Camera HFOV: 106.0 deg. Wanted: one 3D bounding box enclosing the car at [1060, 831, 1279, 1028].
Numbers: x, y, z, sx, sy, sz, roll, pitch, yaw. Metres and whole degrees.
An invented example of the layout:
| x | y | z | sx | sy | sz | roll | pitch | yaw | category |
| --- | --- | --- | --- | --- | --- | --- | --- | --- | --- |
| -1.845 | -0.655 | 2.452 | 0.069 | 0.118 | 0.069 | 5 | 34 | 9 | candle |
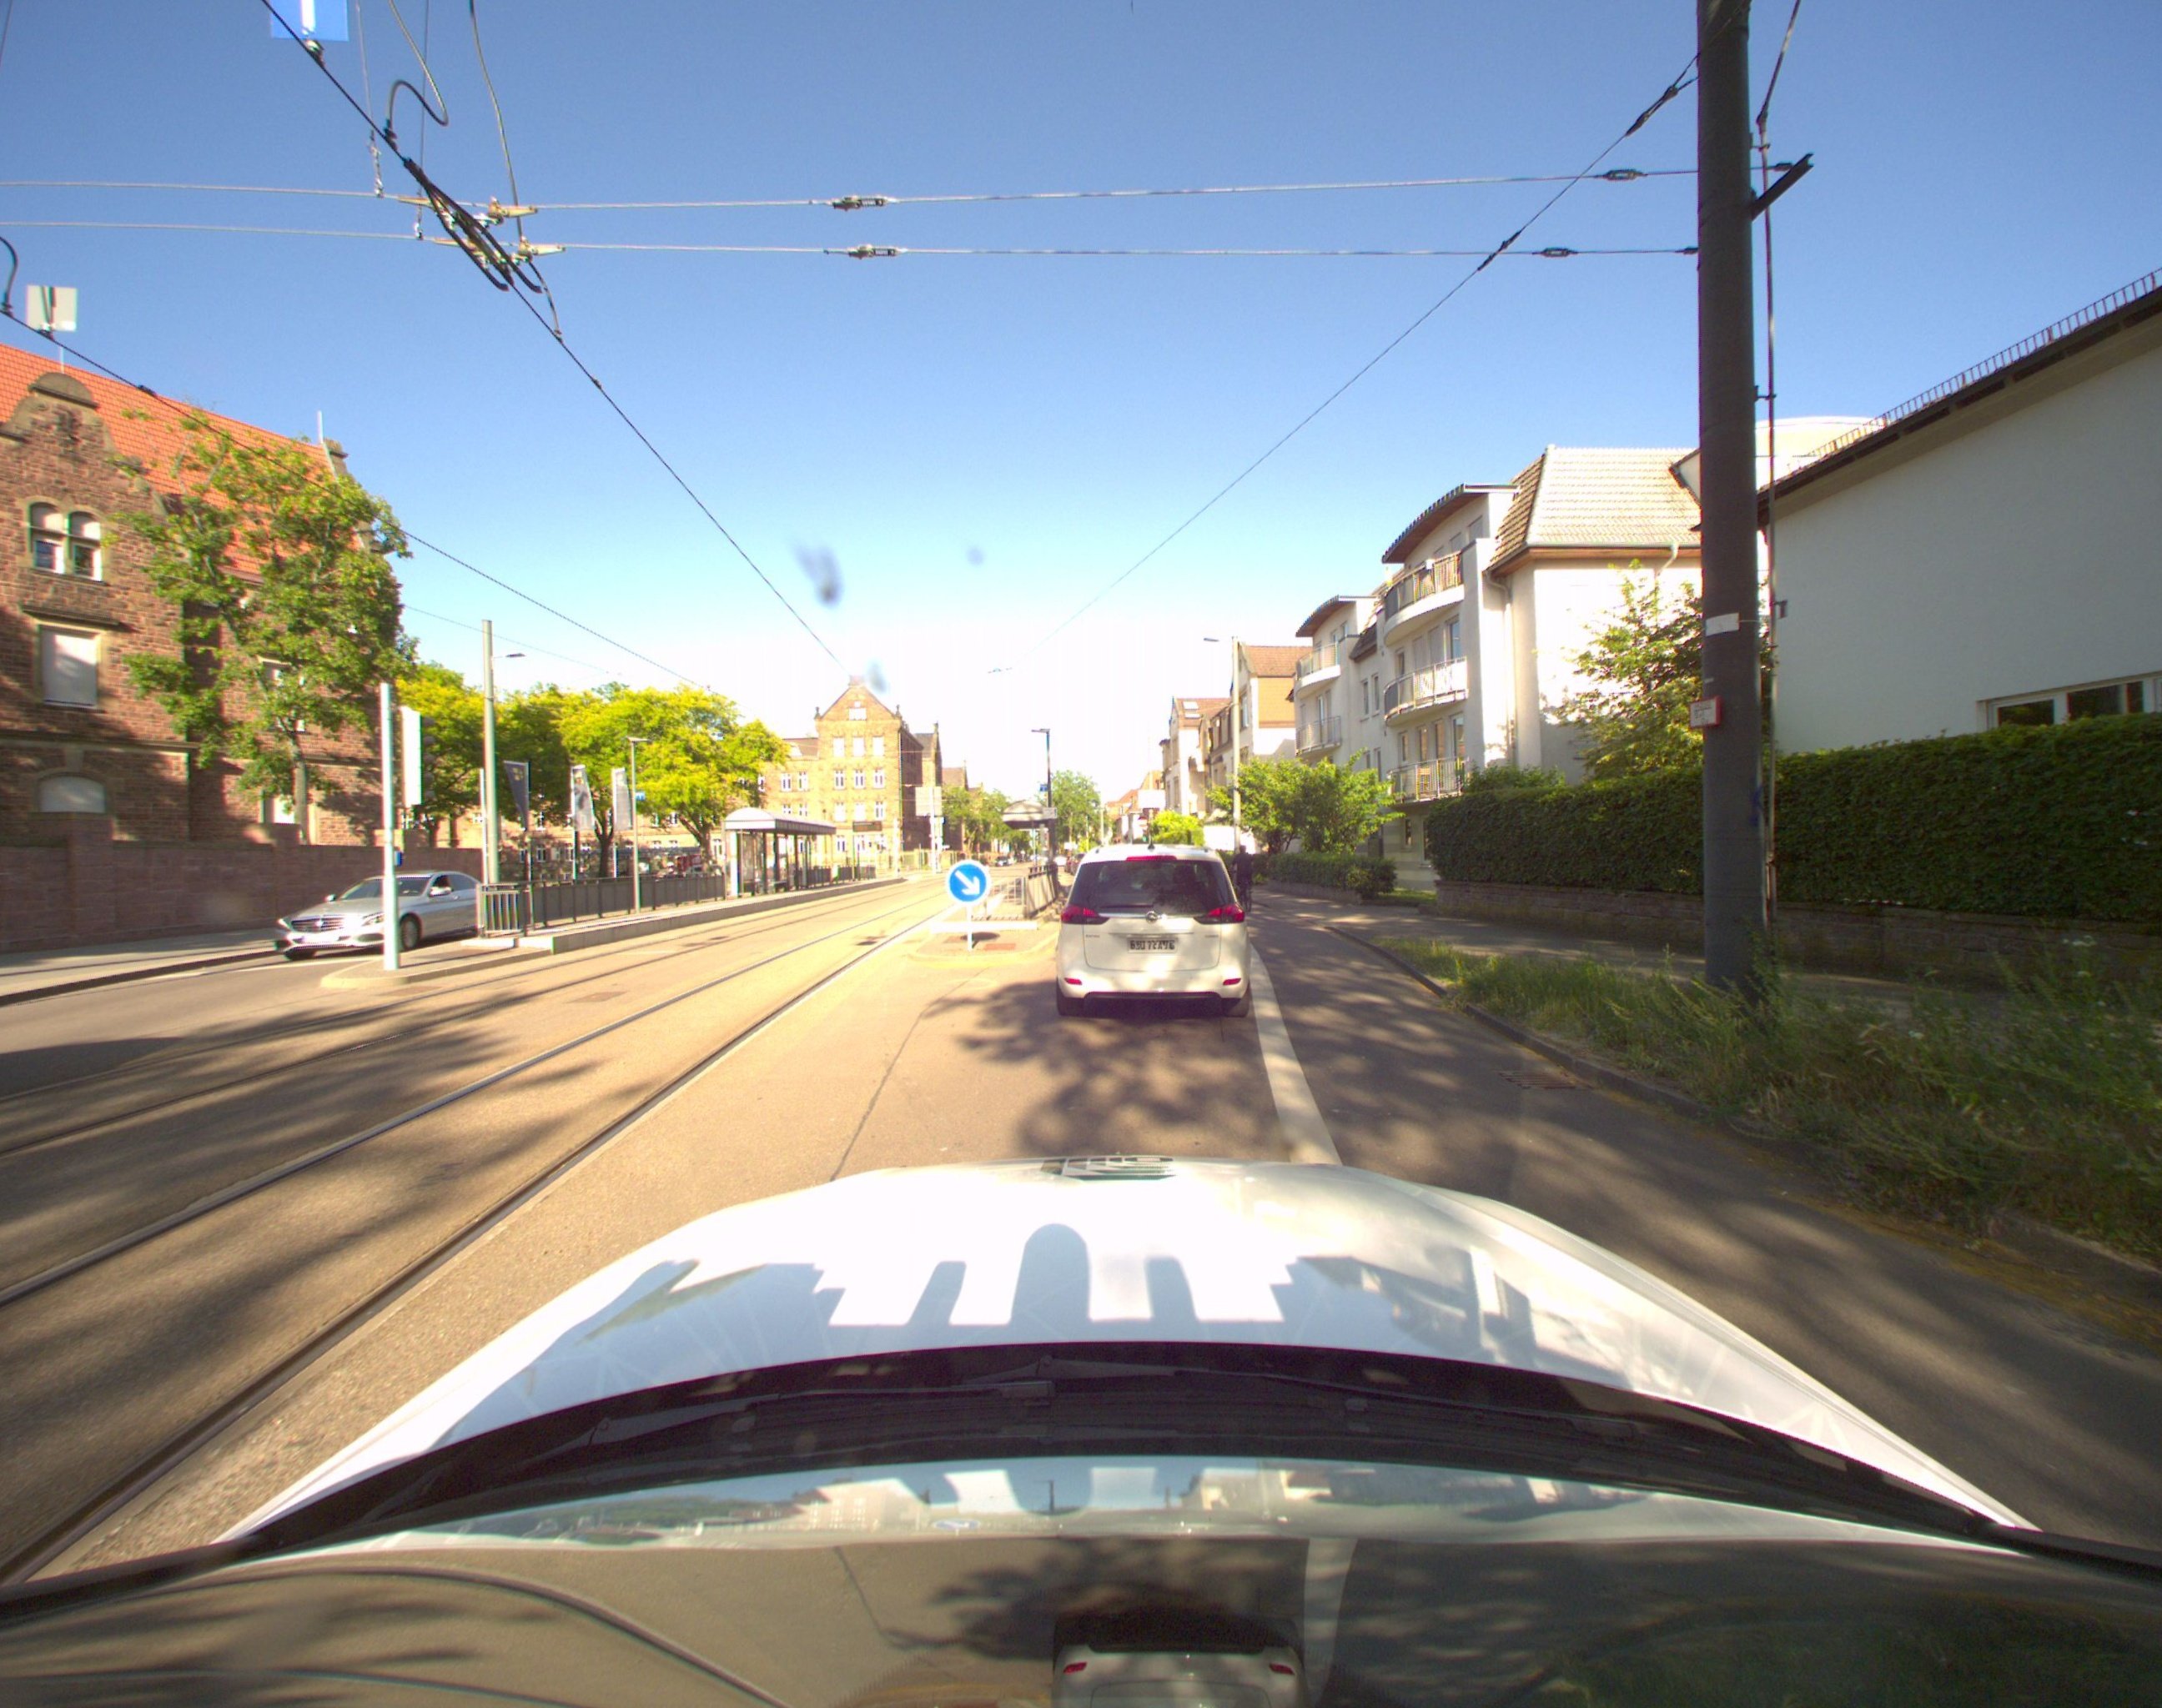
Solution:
| x | y | z | sx | sy | sz | roll | pitch | yaw | category |
| --- | --- | --- | --- | --- | --- | --- | --- | --- | --- |
| 0.712 | 0.652 | 8.907 | 1.830 | 1.642 | 3.915 | -1 | 0 | -2 | car |

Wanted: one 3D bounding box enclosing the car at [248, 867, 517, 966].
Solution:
| x | y | z | sx | sy | sz | roll | pitch | yaw | category |
| --- | --- | --- | --- | --- | --- | --- | --- | --- | --- |
| -13.287 | 1.077 | 15.973 | 1.884 | 1.415 | 4.608 | -2 | 1 | -11 | car |

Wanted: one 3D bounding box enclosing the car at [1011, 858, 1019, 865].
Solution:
| x | y | z | sx | sy | sz | roll | pitch | yaw | category |
| --- | --- | --- | --- | --- | --- | --- | --- | --- | --- |
| -16.627 | 1.852 | 206.716 | 1.902 | 1.677 | 3.995 | -1 | 0 | -4 | car |

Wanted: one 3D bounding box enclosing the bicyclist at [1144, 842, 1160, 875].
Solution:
| x | y | z | sx | sy | sz | roll | pitch | yaw | category |
| --- | --- | --- | --- | --- | --- | --- | --- | --- | --- |
| 3.637 | 0.242 | 41.742 | 0.683 | 1.634 | 1.015 | -1 | -1 | 0 | bicyclist |

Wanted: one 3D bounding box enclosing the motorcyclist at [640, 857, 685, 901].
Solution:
| x | y | z | sx | sy | sz | roll | pitch | yaw | category |
| --- | --- | --- | --- | --- | --- | --- | --- | --- | --- |
| -15.279 | 0.901 | 29.781 | 1.123 | 1.525 | 1.053 | -1 | -1 | -6 | motorcyclist |

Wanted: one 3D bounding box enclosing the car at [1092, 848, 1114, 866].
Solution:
| x | y | z | sx | sy | sz | roll | pitch | yaw | category |
| --- | --- | --- | --- | --- | --- | --- | --- | --- | --- |
| 1.991 | 0.266 | 74.689 | 1.770 | 1.632 | 3.879 | -1 | 0 | -1 | car |

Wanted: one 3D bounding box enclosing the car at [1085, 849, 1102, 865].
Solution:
| x | y | z | sx | sy | sz | roll | pitch | yaw | category |
| --- | --- | --- | --- | --- | --- | --- | --- | --- | --- |
| 1.301 | 0.359 | 85.784 | 1.770 | 1.632 | 3.879 | -1 | 0 | -1 | car |

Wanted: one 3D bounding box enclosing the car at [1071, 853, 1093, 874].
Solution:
| x | y | z | sx | sy | sz | roll | pitch | yaw | category |
| --- | --- | --- | --- | --- | --- | --- | --- | --- | --- |
| 0.089 | 0.739 | 66.153 | 1.770 | 1.632 | 3.880 | -1 | 0 | 0 | car |

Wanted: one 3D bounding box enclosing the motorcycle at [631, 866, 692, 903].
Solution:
| x | y | z | sx | sy | sz | roll | pitch | yaw | category |
| --- | --- | --- | --- | --- | --- | --- | --- | --- | --- |
| -15.278 | 1.077 | 29.758 | 1.128 | 1.243 | 2.568 | -1 | 0 | -6 | motorcycle |

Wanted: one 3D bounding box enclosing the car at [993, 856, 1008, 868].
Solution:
| x | y | z | sx | sy | sz | roll | pitch | yaw | category |
| --- | --- | --- | --- | --- | --- | --- | --- | --- | --- |
| -12.225 | 1.203 | 123.793 | 1.902 | 1.677 | 4.354 | -1 | 0 | -2 | car |

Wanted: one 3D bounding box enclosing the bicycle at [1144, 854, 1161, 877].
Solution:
| x | y | z | sx | sy | sz | roll | pitch | yaw | category |
| --- | --- | --- | --- | --- | --- | --- | --- | --- | --- |
| 3.647 | 0.589 | 41.676 | 0.683 | 1.157 | 1.619 | -1 | -1 | 0 | bicycle |

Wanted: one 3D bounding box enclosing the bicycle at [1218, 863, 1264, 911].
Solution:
| x | y | z | sx | sy | sz | roll | pitch | yaw | category |
| --- | --- | --- | --- | --- | --- | --- | --- | --- | --- |
| 4.136 | 0.823 | 21.200 | 0.826 | 1.154 | 2.095 | -1 | 0 | 1 | bicycle |

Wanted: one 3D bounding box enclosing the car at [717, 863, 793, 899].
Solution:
| x | y | z | sx | sy | sz | roll | pitch | yaw | category |
| --- | --- | --- | --- | --- | --- | --- | --- | --- | --- |
| -15.305 | 1.315 | 38.484 | 1.849 | 1.403 | 3.981 | -7 | -3 | 0 | car |

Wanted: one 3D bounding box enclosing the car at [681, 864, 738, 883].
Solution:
| x | y | z | sx | sy | sz | roll | pitch | yaw | category |
| --- | --- | --- | --- | --- | --- | --- | --- | --- | --- |
| -32.229 | 1.653 | 70.710 | 4.052 | 1.522 | 1.876 | -1 | -1 | -1 | car |

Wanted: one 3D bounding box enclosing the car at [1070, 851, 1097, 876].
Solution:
| x | y | z | sx | sy | sz | roll | pitch | yaw | category |
| --- | --- | --- | --- | --- | --- | --- | --- | --- | --- |
| 0.172 | 0.671 | 56.812 | 1.770 | 1.632 | 3.879 | -1 | 0 | 0 | car |

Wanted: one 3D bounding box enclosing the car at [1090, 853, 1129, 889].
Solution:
| x | y | z | sx | sy | sz | roll | pitch | yaw | category |
| --- | --- | --- | --- | --- | --- | --- | --- | --- | --- |
| 1.372 | 0.797 | 40.006 | 1.769 | 1.632 | 3.881 | -1 | 0 | 1 | car |

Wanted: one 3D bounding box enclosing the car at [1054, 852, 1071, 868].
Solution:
| x | y | z | sx | sy | sz | roll | pitch | yaw | category |
| --- | --- | --- | --- | --- | --- | --- | --- | --- | --- |
| -2.016 | 0.668 | 90.523 | 1.770 | 1.692 | 3.879 | -1 | 0 | -1 | car |

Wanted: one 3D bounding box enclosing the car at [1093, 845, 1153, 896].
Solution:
| x | y | z | sx | sy | sz | roll | pitch | yaw | category |
| --- | --- | --- | --- | --- | --- | --- | --- | --- | --- |
| 1.416 | 0.562 | 28.950 | 1.771 | 1.632 | 3.877 | -1 | 0 | -2 | car |

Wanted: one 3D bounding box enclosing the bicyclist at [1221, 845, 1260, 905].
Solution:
| x | y | z | sx | sy | sz | roll | pitch | yaw | category |
| --- | --- | --- | --- | --- | --- | --- | --- | --- | --- |
| 4.130 | 0.529 | 21.083 | 0.818 | 1.501 | 0.934 | -1 | -1 | 1 | bicyclist |
